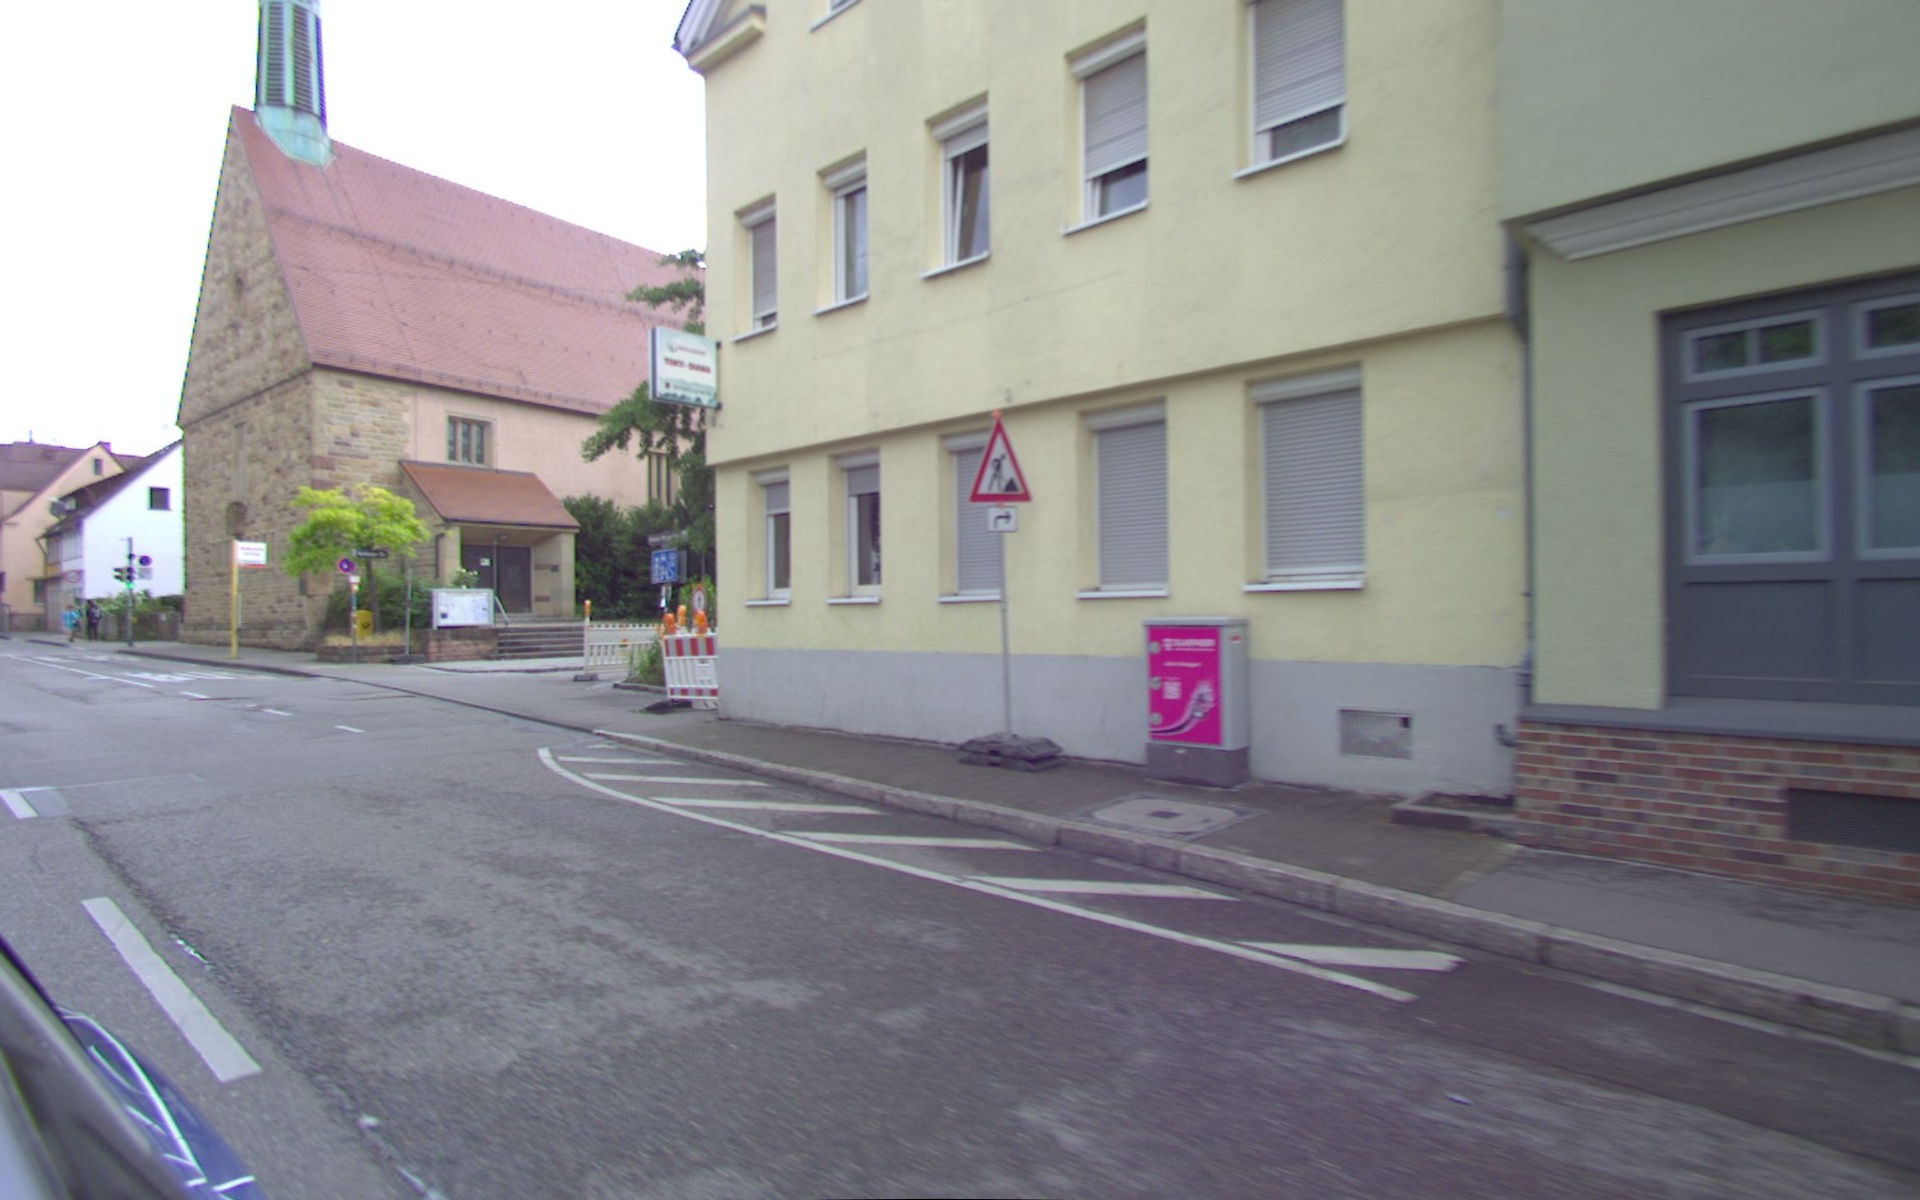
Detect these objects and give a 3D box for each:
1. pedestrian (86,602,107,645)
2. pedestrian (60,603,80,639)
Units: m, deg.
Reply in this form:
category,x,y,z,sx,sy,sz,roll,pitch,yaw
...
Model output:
category,x,y,z,sx,sy,sz,roll,pitch,yaw
pedestrian,-38.382,1.057,44.982,0.696,1.862,0.565,-1,2,42
pedestrian,-39.235,0.907,44.609,0.696,1.566,0.565,-1,0,42
